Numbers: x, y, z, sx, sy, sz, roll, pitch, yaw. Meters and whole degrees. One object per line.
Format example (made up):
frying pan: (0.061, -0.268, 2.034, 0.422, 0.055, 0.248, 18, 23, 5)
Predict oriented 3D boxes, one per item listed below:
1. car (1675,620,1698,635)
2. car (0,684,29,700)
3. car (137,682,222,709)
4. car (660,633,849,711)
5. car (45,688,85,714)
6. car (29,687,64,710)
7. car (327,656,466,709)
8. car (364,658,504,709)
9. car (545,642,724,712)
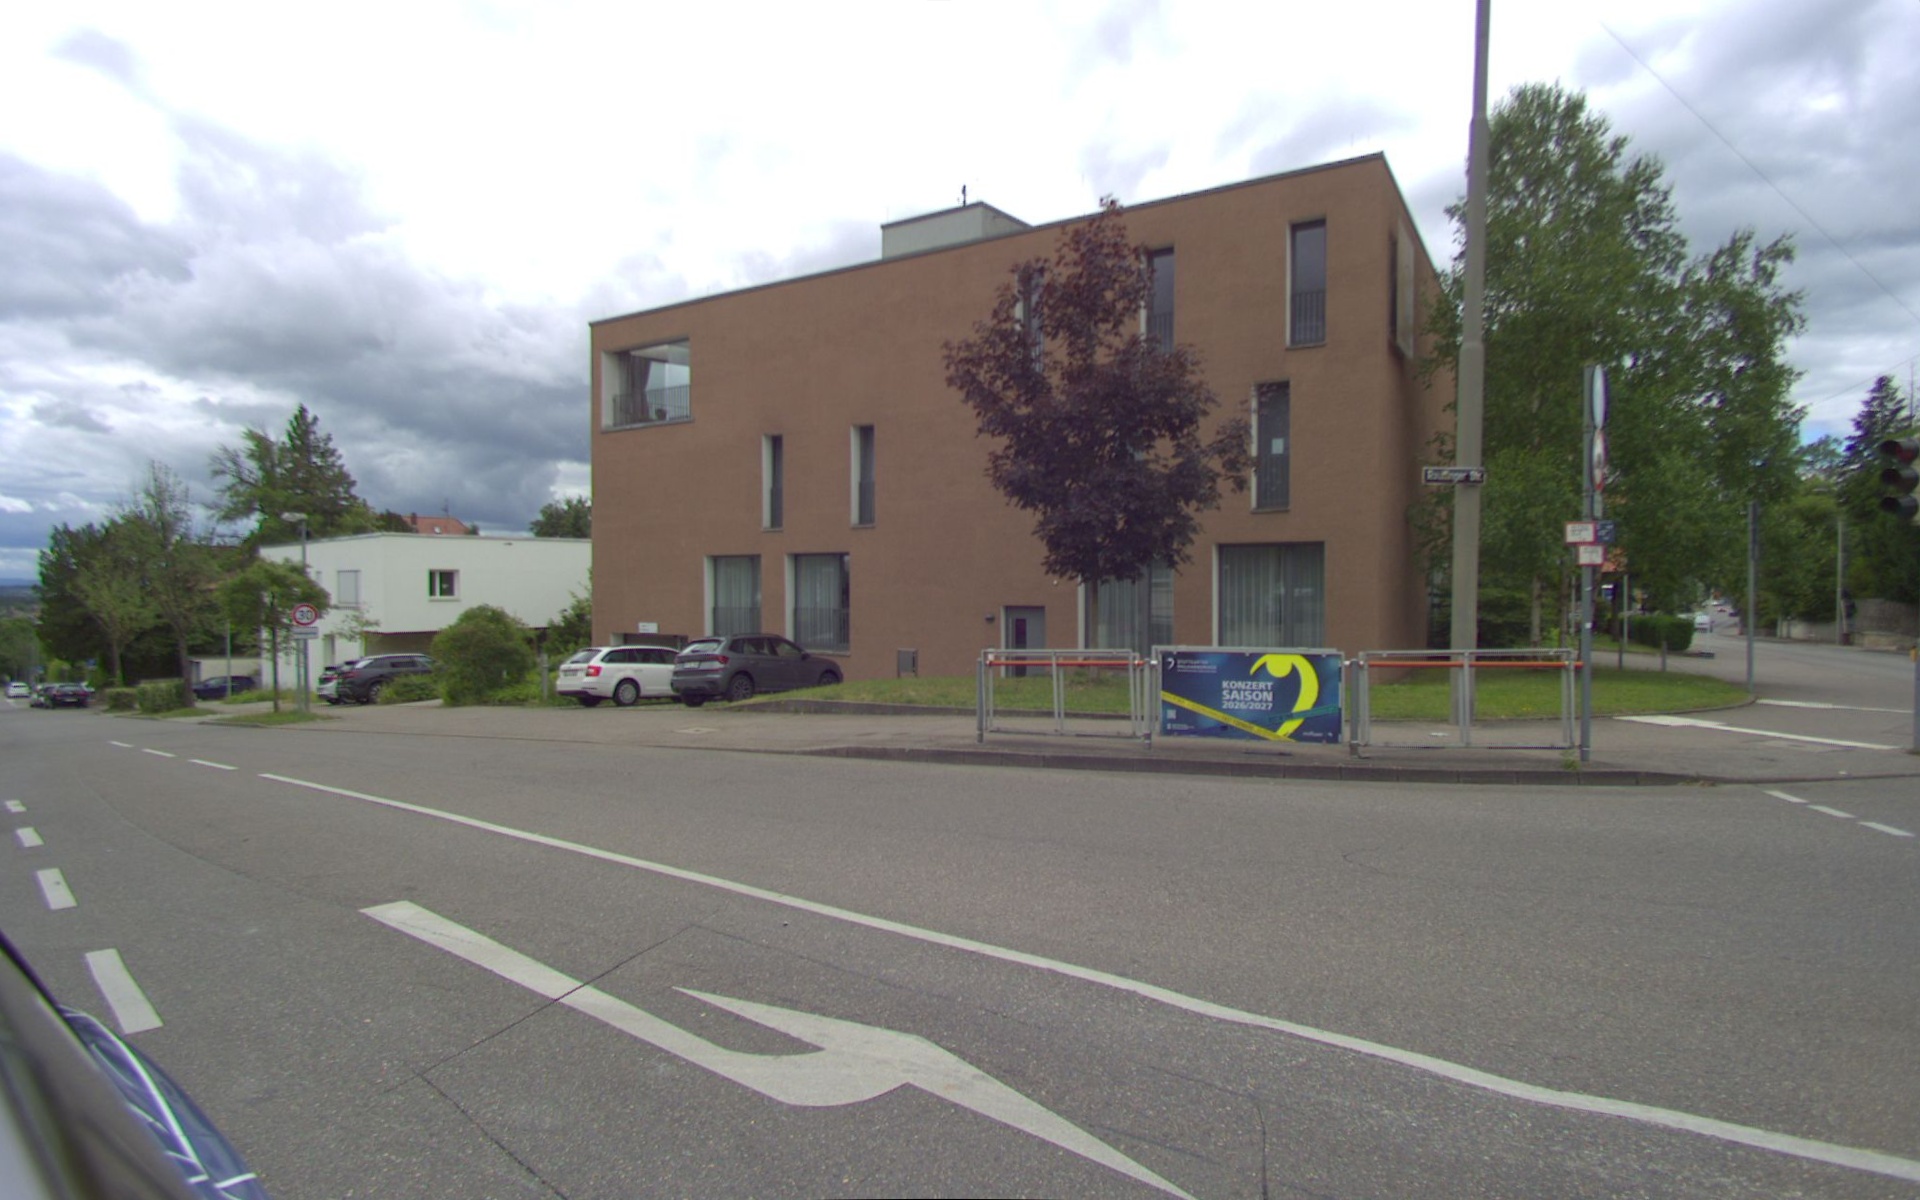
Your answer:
car: (86.891, 3.301, 121.043, 1.807, 1.724, 3.993, -1, -2, 31)
car: (-95.892, 9.295, 102.378, 4.362, 1.432, 1.861, -3, -3, 38)
car: (-46.963, 5.735, 60.952, 3.939, 1.296, 1.665, 0, -4, -43)
car: (-4.488, 1.566, 22.526, 1.724, 1.497, 3.950, -5, -4, 37)
car: (-54.926, 6.168, 62.088, 1.638, 1.432, 4.003, 0, -4, -44)
car: (-61.547, 6.626, 68.167, 1.638, 1.432, 4.371, 0, -4, -44)
car: (-19.970, 2.897, 35.949, 1.793, 1.608, 3.943, -6, -4, 43)
car: (-18.227, 2.876, 35.163, 1.727, 1.497, 3.943, -6, -4, 43)
car: (-7.993, 1.873, 25.134, 1.724, 1.497, 3.950, -5, -4, 37)
